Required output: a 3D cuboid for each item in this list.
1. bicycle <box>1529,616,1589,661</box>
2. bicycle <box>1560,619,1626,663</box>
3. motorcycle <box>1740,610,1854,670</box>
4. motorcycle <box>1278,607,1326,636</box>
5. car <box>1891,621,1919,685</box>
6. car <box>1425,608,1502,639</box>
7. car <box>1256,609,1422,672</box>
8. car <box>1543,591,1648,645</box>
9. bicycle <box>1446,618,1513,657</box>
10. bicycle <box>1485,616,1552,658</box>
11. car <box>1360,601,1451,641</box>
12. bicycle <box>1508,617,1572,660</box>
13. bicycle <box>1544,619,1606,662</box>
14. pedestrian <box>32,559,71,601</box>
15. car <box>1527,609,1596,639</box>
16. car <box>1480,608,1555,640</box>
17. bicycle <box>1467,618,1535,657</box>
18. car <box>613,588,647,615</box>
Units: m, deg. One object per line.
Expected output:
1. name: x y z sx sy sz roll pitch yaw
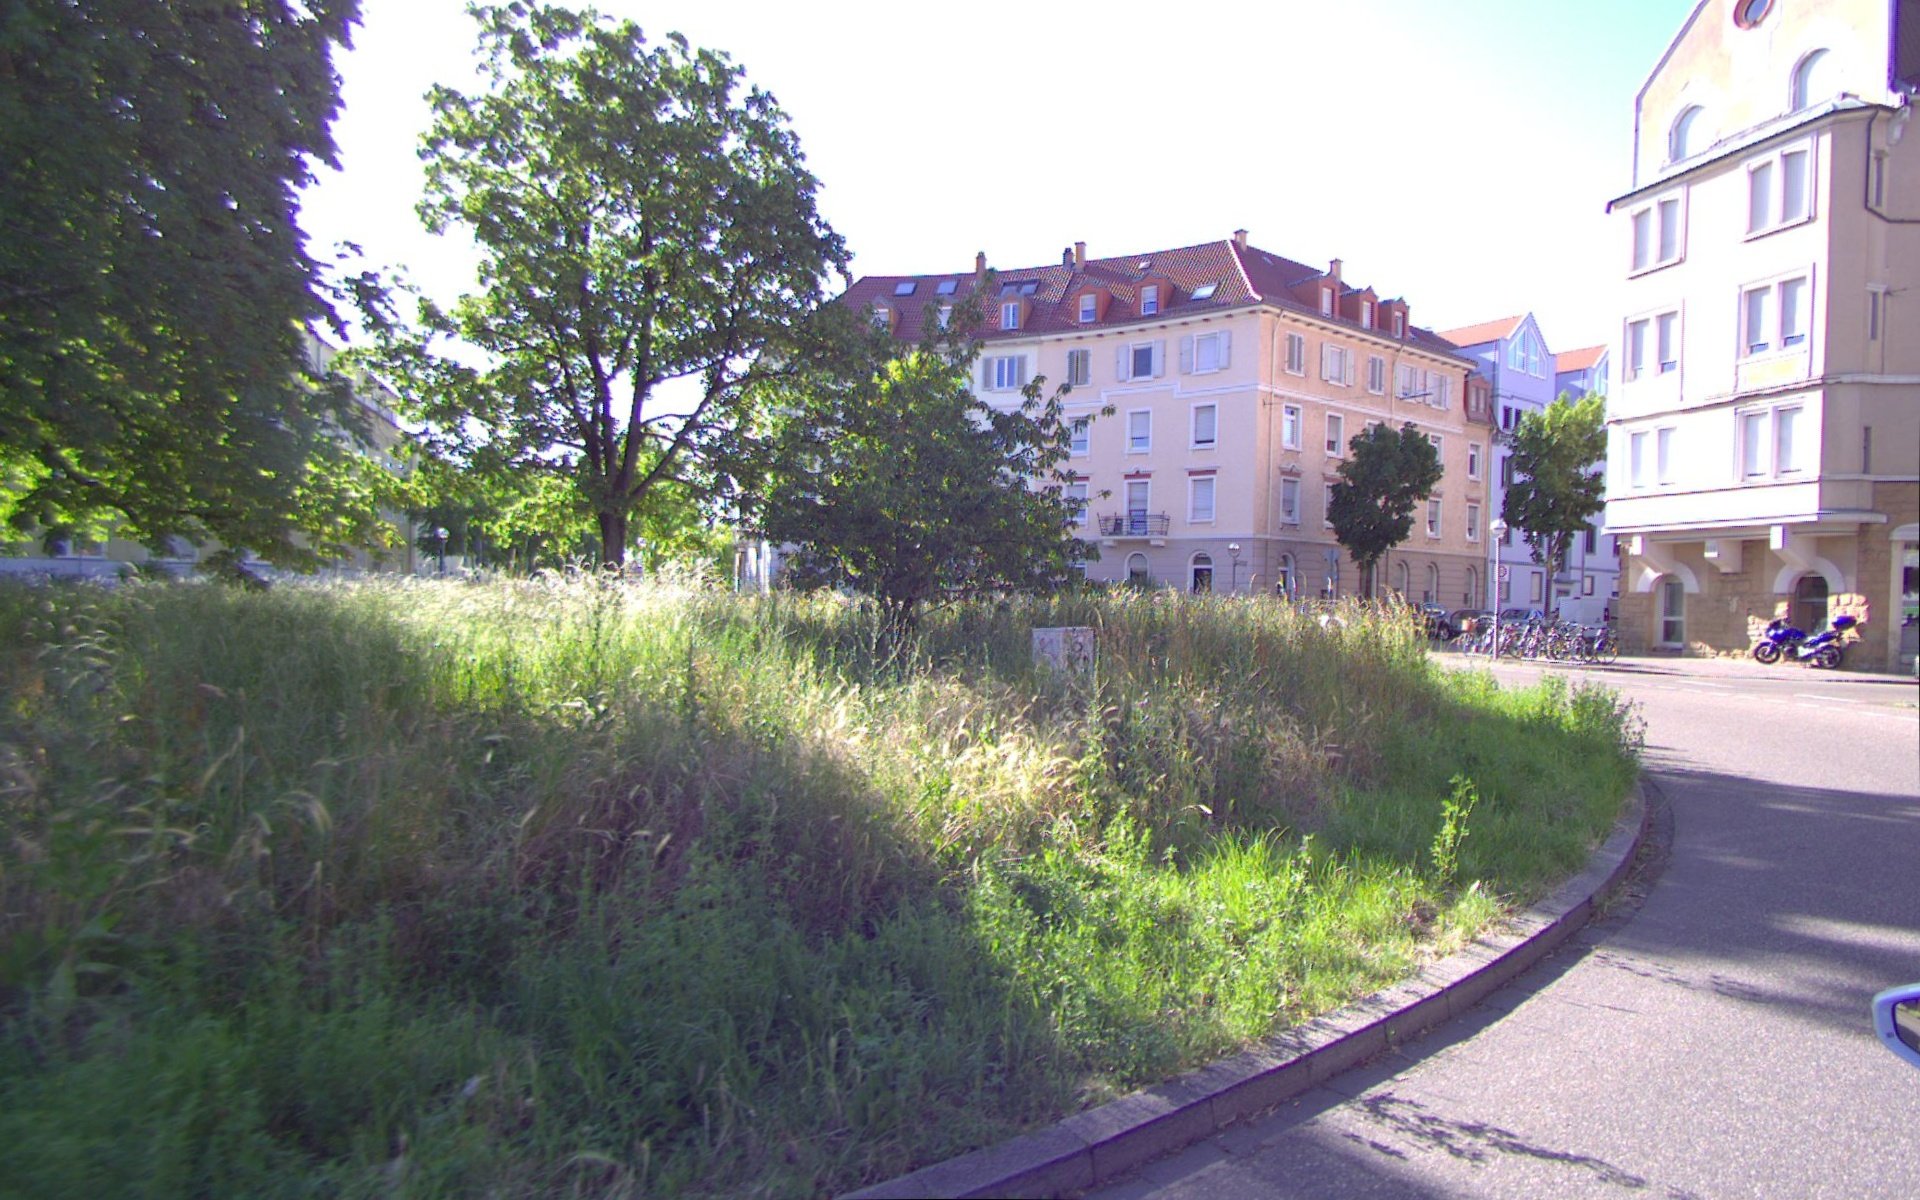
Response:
1. bicycle: 16.443 1.061 27.578 1.671 1.207 0.449 1 0 -20
2. bicycle: 16.816 1.097 26.684 1.691 1.138 0.481 1 0 -18
3. motorcycle: 22.242 1.037 26.757 0.689 1.430 2.240 0 2 -20
4. motorcycle: 15.588 0.960 45.732 2.131 1.236 0.934 1 2 -34
5. car: 22.987 1.210 21.773 3.842 1.408 1.689 1 -1 7
6. car: 24.090 1.128 48.035 3.625 1.430 1.686 1 0 -34
7. car: 9.675 0.985 25.977 1.843 1.438 3.979 0 0 -22
8. car: 24.437 0.689 38.582 4.524 1.934 2.117 1 0 -40
9. bicycle: 15.633 1.130 30.253 1.838 1.144 0.697 2 -1 -18
10. bicycle: 16.075 1.062 28.926 1.667 1.161 0.636 1 0 -12
11. car: 19.957 0.937 44.951 4.307 1.664 1.889 1 0 -37
12. bicycle: 16.231 1.082 28.088 1.671 1.161 0.614 1 0 -20
13. bicycle: 16.648 1.095 27.183 1.671 1.138 0.481 1 0 -20
14. pedestrian: -33.639 -0.736 37.187 0.683 1.544 0.826 1 1 8
15. car: 32.167 1.306 53.684 3.730 1.506 1.686 1 0 -34
16. car: 28.355 1.220 51.091 3.961 1.506 1.686 1 0 -34
17. bicycle: 15.923 1.099 29.583 1.846 1.104 0.535 1 0 -12
18. car: -18.691 0.067 57.018 1.771 1.432 3.984 1 0 -18
